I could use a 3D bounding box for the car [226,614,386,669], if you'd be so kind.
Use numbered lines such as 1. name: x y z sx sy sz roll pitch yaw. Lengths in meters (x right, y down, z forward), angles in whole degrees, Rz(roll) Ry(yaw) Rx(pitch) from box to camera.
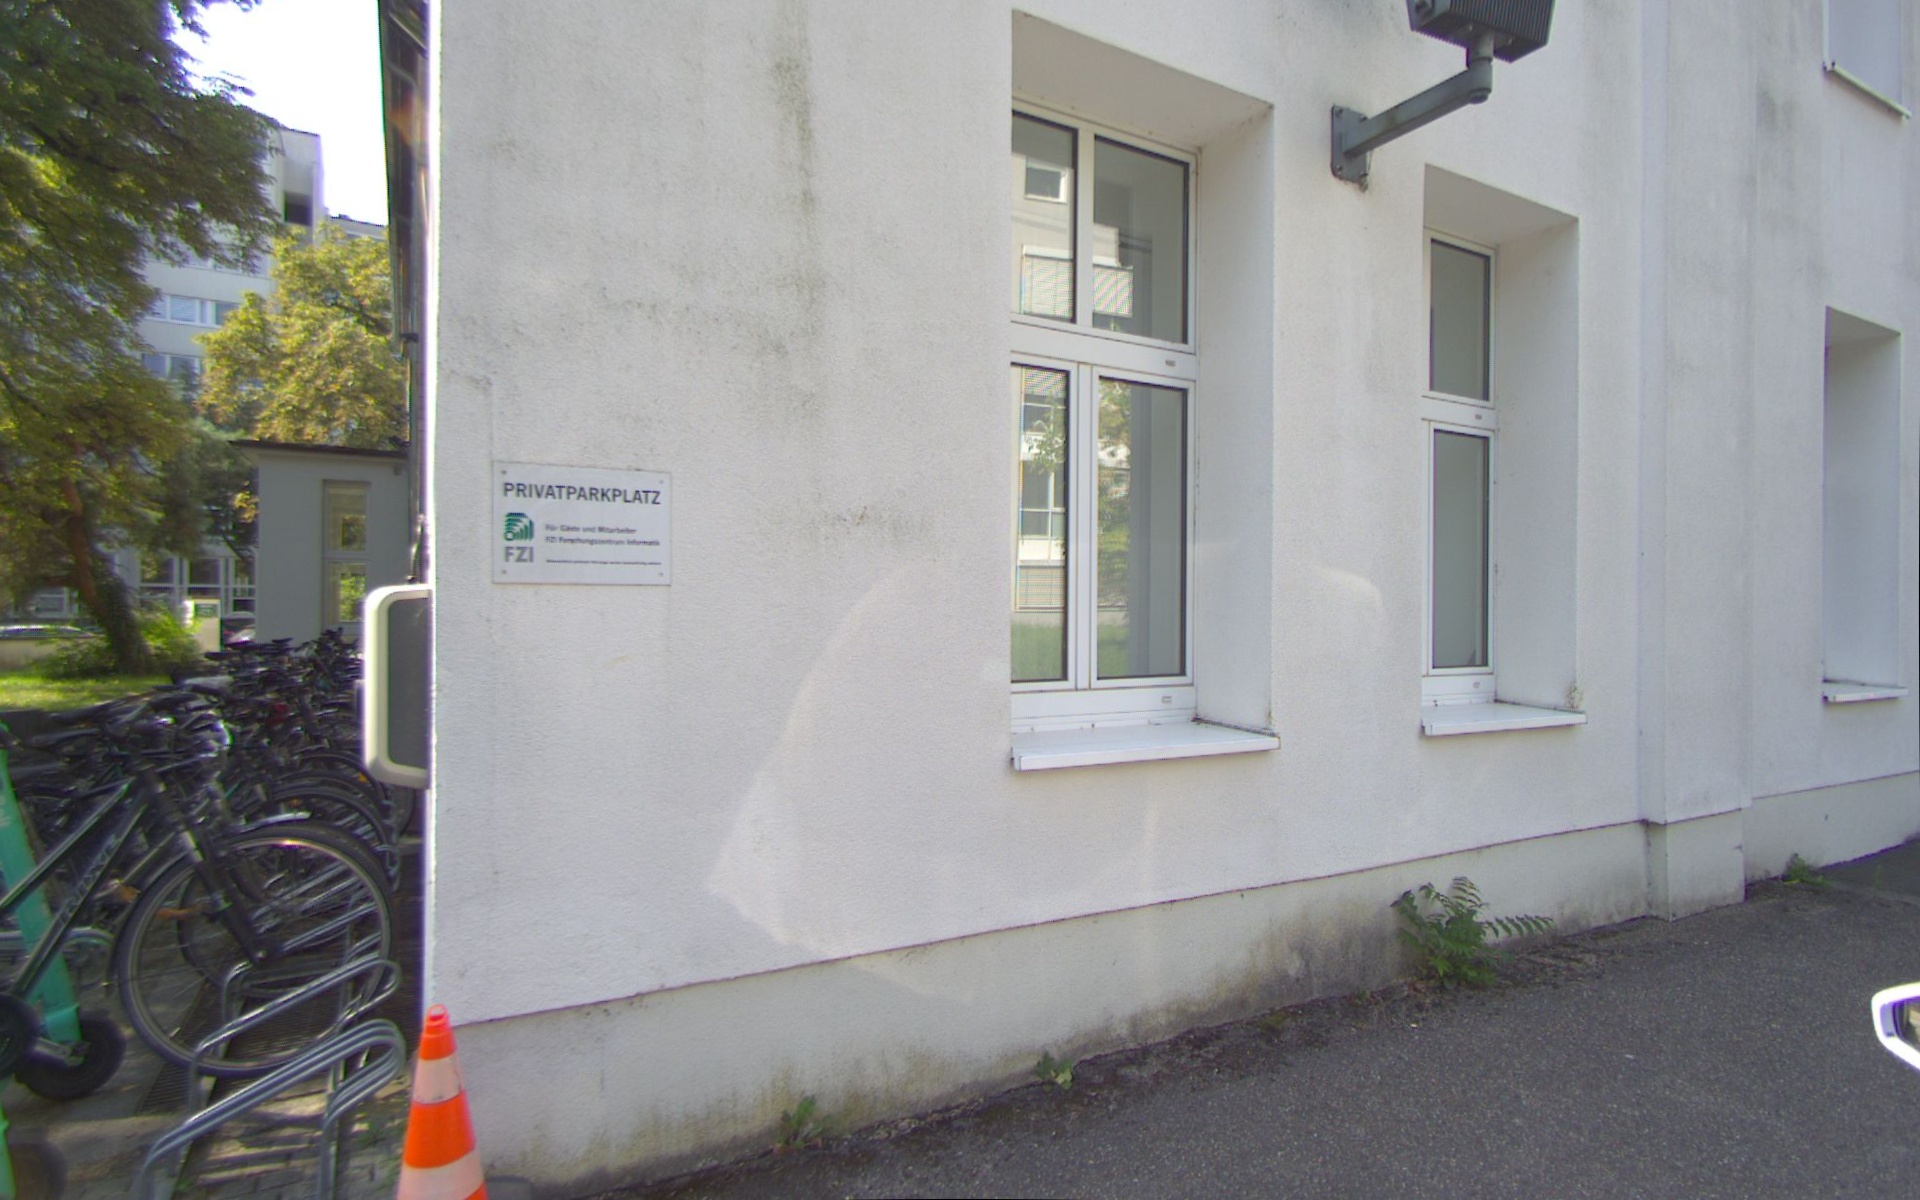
1. car: -20.160 1.232 31.094 1.700 1.564 3.808 0 -1 33

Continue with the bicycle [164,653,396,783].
1. bicycle: -6.183 1.047 9.232 1.727 1.098 0.322 1 0 -31

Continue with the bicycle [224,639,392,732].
1. bicycle: -8.113 1.047 12.574 1.727 1.098 0.322 1 0 -31

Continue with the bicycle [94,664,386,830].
1. bicycle: -5.288 1.045 7.492 1.727 1.098 0.322 1 0 -31

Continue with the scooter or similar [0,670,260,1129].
1. scooter or similar: -2.916 0.848 2.854 1.478 1.256 0.322 1 0 -31

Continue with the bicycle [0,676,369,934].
1. bicycle: -4.129 0.997 5.131 1.894 1.164 0.322 1 0 -31

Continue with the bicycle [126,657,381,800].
1. bicycle: -5.906 1.045 8.502 1.727 1.098 0.322 1 0 -31

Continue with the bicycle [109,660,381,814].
1. bicycle: -5.618 1.045 8.003 1.727 1.098 0.322 1 0 -31

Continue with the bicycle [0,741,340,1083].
1. bicycle: -3.143 1.047 3.378 1.780 1.010 0.322 1 0 -31

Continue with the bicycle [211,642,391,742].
1. bicycle: -7.670 1.047 11.770 1.727 1.098 0.322 1 0 -31

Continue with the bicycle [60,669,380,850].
1. bicycle: -4.998 1.045 6.912 1.727 1.098 0.322 1 0 -31

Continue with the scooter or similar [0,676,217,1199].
1. scooter or similar: -2.488 0.836 2.064 0.380 1.279 1.488 1 0 40

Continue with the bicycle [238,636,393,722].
1. bicycle: -8.666 1.047 13.564 1.727 1.098 0.322 1 0 -31

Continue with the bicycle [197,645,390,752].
1. bicycle: -7.265 1.046 11.033 1.727 1.098 0.322 1 0 -31

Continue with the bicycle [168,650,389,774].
1. bicycle: -6.514 1.046 9.693 1.727 1.098 0.322 1 0 -31

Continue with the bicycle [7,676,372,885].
1. bicycle: -4.609 1.044 6.148 1.727 1.098 0.322 1 0 -31

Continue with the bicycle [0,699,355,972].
1. bicycle: -3.866 1.039 4.565 1.890 1.089 0.322 1 0 -31

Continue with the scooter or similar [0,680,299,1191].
1. scooter or similar: -2.605 0.855 2.581 1.478 1.247 0.322 1 0 -31

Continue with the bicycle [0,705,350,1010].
1. bicycle: -3.541 1.018 4.075 1.798 1.094 0.322 1 0 -31

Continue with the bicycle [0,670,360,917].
1. bicycle: -4.389 1.016 5.570 1.804 1.204 0.322 1 0 -31

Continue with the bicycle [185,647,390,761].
1. bicycle: -6.915 1.046 10.417 1.727 1.098 0.322 1 0 -31

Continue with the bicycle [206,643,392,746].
1. bicycle: -7.464 1.047 11.414 1.727 1.098 0.322 1 0 -31
